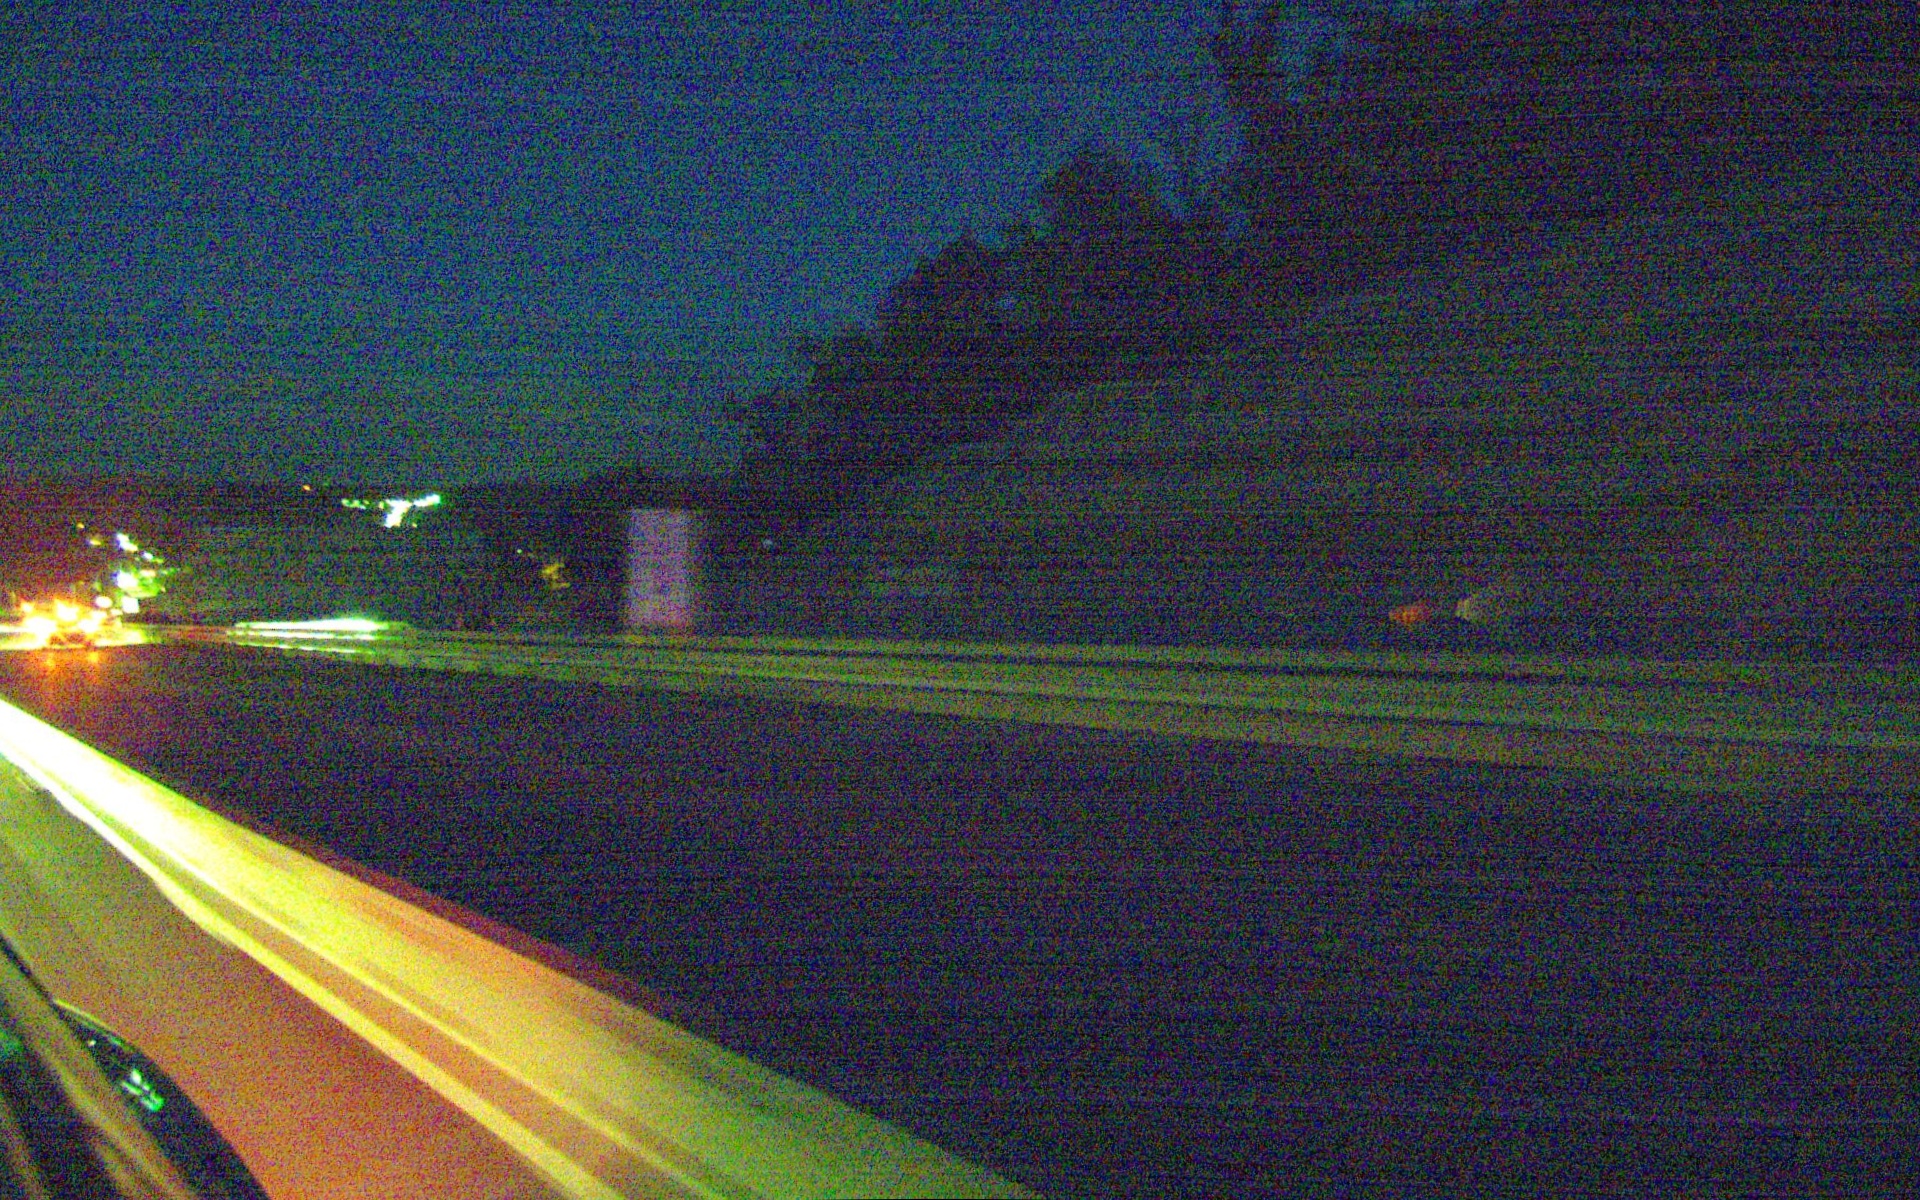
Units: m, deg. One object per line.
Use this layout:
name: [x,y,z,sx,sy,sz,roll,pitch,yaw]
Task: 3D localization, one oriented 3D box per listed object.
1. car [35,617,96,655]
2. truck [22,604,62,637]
car: [-38.357,1.559,43.370,1.787,1.529,3.938,-1,-2,-44]
truck: [-74.368,1.581,81.967,2.274,2.493,6.279,-1,1,-43]
